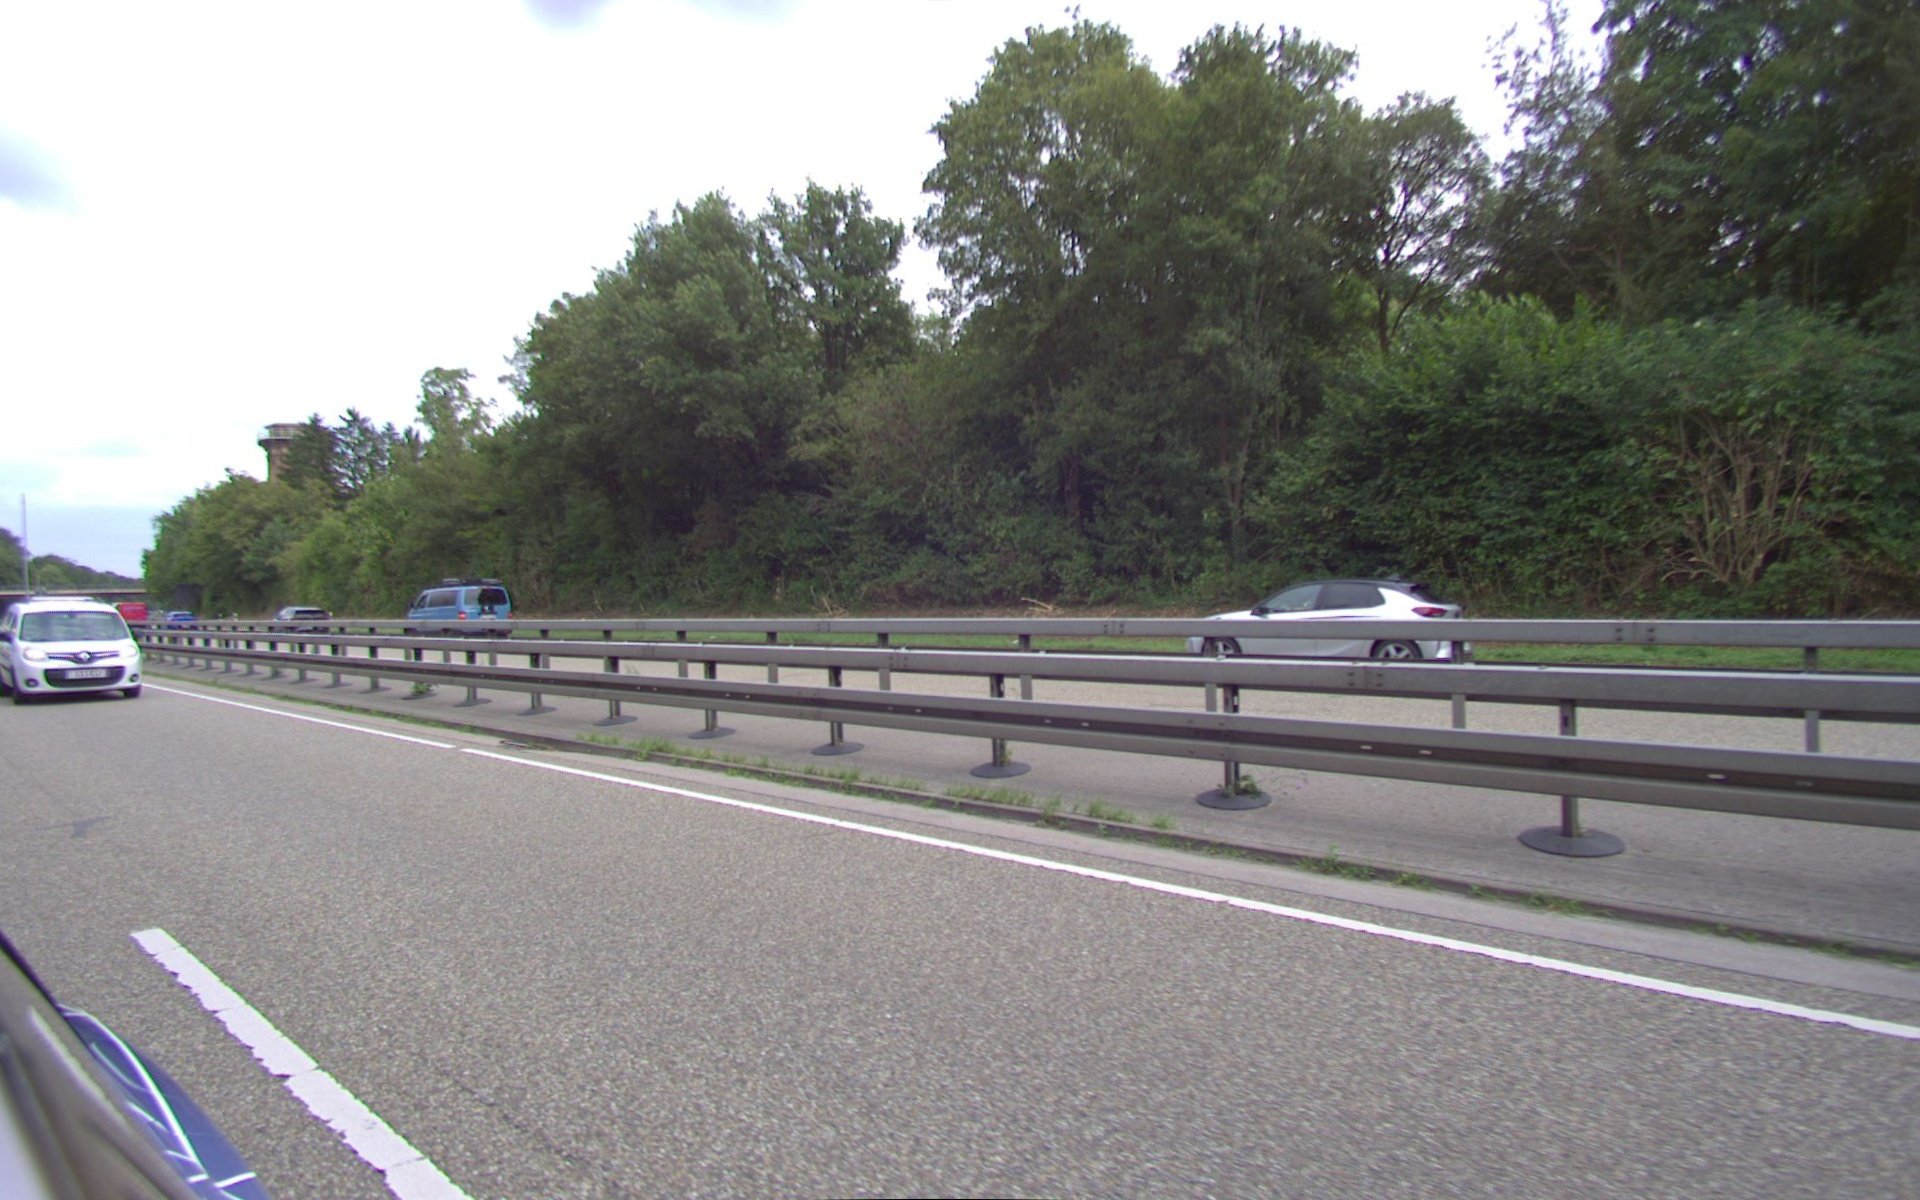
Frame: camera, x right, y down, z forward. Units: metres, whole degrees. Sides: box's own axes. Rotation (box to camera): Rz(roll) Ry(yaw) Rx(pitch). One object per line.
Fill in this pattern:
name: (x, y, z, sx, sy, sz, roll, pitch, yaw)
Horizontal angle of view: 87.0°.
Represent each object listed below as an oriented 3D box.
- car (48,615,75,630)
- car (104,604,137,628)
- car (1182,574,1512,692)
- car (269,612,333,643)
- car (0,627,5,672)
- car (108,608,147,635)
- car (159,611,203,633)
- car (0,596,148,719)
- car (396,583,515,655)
car: (-94.403, 2.379, 106.284, 4.015, 1.575, 1.762, -1, -1, 43)
car: (-94.472, 1.797, 113.876, 5.554, 2.631, 2.286, -1, -1, 43)
car: (5.595, 0.454, 14.874, 4.128, 1.492, 1.973, -1, -1, 40)
car: (-32.831, 1.347, 50.368, 4.089, 1.478, 1.676, -1, -1, 42)
car: (-32.604, 1.614, 33.125, 4.199, 1.435, 1.748, -1, -1, 44)
car: (-72.869, 1.848, 88.561, 5.377, 2.273, 2.043, -1, -1, 44)
car: (-56.049, 1.601, 72.772, 4.507, 1.521, 1.971, -1, -1, 45)
car: (-16.677, 0.987, 18.806, 4.422, 2.020, 1.798, -1, -1, 42)
car: (-17.689, 0.653, 35.380, 5.303, 2.339, 1.915, -1, -1, 42)
